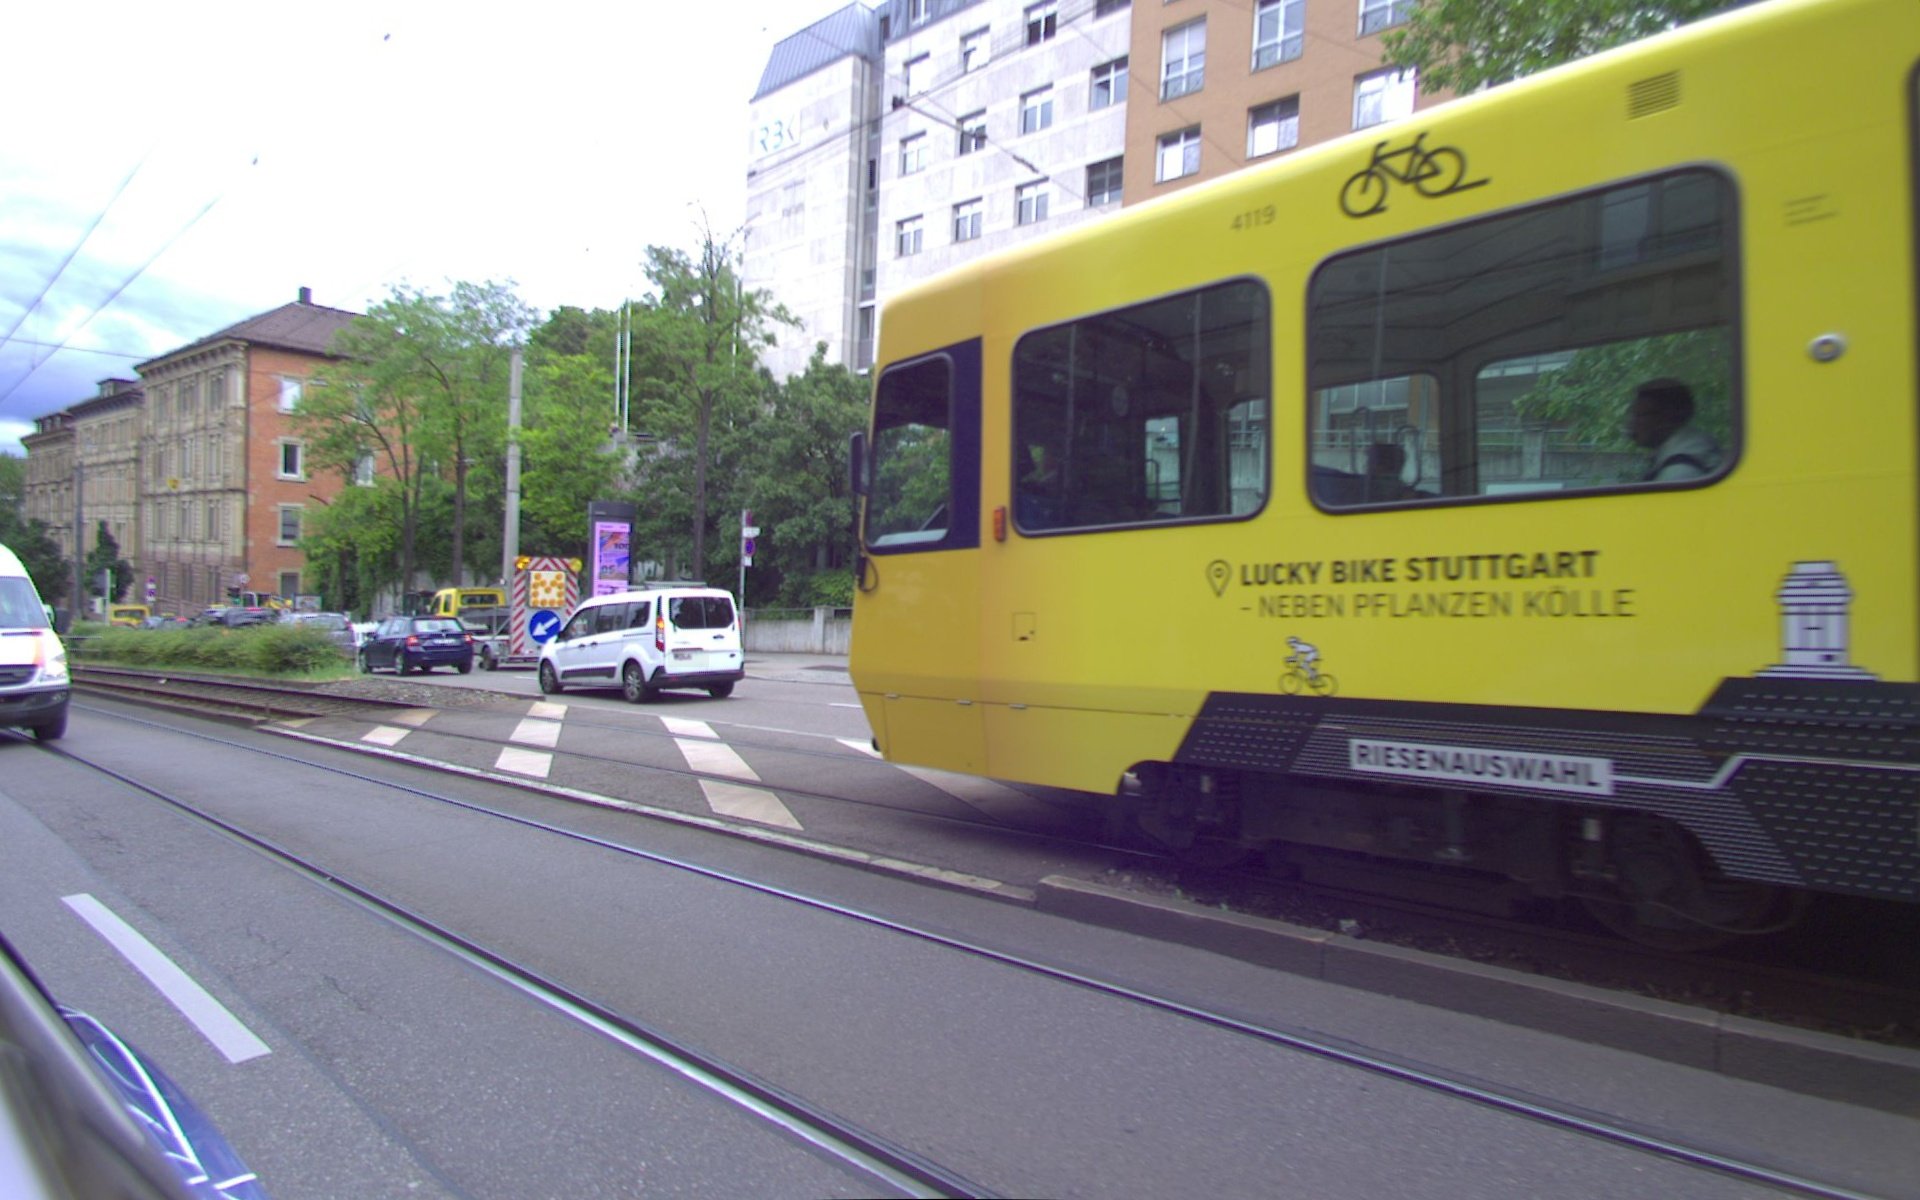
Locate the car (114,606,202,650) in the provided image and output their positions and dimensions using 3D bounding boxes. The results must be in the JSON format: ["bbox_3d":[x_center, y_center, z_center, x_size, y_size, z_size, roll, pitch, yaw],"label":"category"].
[{"bbox_3d":[-31.800,1.108,40.083,4.618,1.617,1.972,-2,-2,42],"label":"car"}]

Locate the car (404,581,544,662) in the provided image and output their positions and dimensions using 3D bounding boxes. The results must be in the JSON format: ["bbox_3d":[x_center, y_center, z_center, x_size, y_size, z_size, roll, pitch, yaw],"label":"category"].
[{"bbox_3d":[-17.116,0.772,35.473,6.333,2.613,2.134,-2,-2,41],"label":"car"}]

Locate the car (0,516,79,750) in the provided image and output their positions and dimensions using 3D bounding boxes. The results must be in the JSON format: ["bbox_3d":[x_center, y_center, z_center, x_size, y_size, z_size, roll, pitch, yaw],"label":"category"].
[{"bbox_3d":[-13.729,0.453,13.146,5.838,2.720,2.017,-2,-1,34],"label":"car"}]

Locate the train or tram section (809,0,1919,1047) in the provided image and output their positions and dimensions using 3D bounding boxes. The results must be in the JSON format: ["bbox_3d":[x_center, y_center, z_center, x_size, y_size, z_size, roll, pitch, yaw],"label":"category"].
[{"bbox_3d":[5.569,-0.653,2.327,14.852,3.754,2.852,-1,0,42],"label":"train or tram section"}]

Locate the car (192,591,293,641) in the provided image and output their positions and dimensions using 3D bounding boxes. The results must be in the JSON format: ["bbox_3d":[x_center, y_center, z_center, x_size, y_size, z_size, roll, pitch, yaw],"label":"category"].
[{"bbox_3d":[-24.910,0.573,35.076,4.609,1.617,1.972,-2,-2,43],"label":"car"}]

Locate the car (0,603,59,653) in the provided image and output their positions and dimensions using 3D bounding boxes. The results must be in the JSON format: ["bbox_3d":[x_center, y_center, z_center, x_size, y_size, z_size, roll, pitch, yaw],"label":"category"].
[{"bbox_3d":[-55.426,1.683,59.904,4.775,2.844,2.189,-2,-2,36],"label":"car"}]

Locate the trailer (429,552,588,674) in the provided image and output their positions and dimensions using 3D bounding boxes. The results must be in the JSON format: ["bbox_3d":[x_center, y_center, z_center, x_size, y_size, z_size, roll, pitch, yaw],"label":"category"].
[{"bbox_3d":[-12.366,0.345,27.494,1.996,2.995,5.592,-2,0,-45],"label":"trailer"}]

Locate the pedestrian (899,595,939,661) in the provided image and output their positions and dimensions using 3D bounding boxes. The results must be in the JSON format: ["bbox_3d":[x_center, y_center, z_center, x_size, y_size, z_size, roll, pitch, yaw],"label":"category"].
[{"bbox_3d":[-1.006,0.687,24.806,0.728,1.572,0.650,-2,-2,34],"label":"pedestrian"}]

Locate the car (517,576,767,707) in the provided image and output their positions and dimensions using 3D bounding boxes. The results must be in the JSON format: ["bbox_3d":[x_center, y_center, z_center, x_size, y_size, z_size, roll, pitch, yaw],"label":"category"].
[{"bbox_3d":[-5.660,0.696,17.615,5.002,1.961,1.926,-2,-2,43],"label":"car"}]

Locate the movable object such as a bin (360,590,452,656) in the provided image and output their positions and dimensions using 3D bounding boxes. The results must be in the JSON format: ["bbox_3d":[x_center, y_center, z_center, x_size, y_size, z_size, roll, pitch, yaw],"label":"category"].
[{"bbox_3d":[-22.491,0.944,41.042,4.095,2.486,1.913,-2,0,41],"label":"movable object such as a bin"}]

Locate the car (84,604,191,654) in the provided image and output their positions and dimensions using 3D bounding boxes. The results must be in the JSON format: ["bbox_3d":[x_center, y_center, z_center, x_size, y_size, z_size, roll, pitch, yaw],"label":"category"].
[{"bbox_3d":[-42.510,1.477,52.240,6.735,2.454,2.421,-1,-1,34],"label":"car"}]

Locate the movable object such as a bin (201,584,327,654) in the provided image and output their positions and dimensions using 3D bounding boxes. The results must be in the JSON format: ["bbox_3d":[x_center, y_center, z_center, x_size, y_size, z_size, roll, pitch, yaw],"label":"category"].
[{"bbox_3d":[-36.993,1.053,53.748,6.515,3.575,2.731,-1,-2,27],"label":"movable object such as a bin"}]

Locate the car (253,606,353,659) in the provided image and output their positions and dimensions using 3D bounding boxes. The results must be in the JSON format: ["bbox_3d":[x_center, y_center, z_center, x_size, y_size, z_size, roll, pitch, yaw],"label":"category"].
[{"bbox_3d":[-19.220,0.938,29.544,3.740,1.454,1.640,-2,-2,44],"label":"car"}]

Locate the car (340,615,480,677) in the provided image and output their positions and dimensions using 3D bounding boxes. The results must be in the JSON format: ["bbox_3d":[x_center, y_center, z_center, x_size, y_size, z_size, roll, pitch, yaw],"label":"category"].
[{"bbox_3d":[-13.869,1.122,25.443,4.080,1.418,1.748,-2,-2,41],"label":"car"}]
